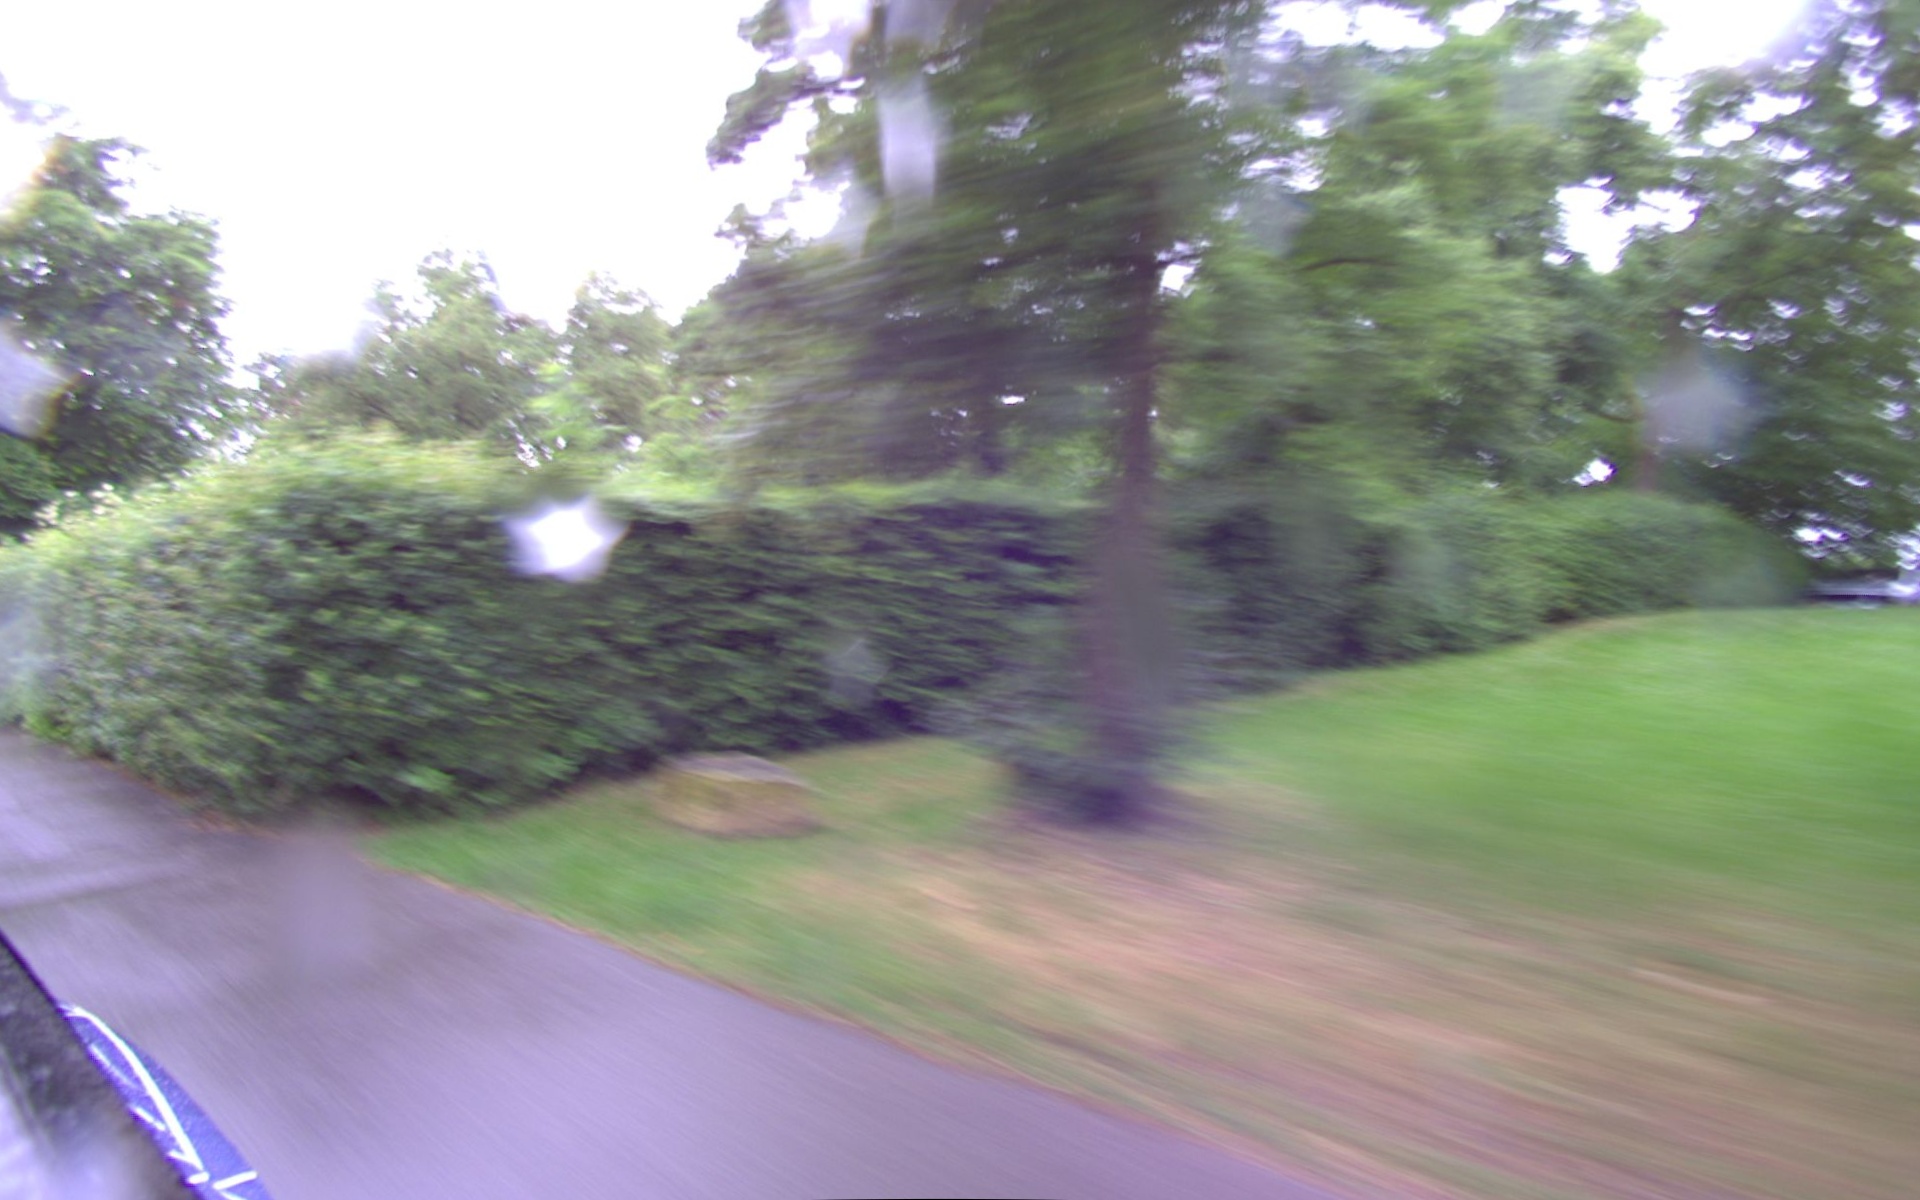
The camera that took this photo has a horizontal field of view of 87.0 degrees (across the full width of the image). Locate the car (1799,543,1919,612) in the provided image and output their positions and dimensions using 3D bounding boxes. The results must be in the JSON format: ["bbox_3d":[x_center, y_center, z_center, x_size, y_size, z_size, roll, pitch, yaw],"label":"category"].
[{"bbox_3d":[21.696,-0.529,24.068,3.935,1.495,1.884,-1,1,-38],"label":"car"}]
